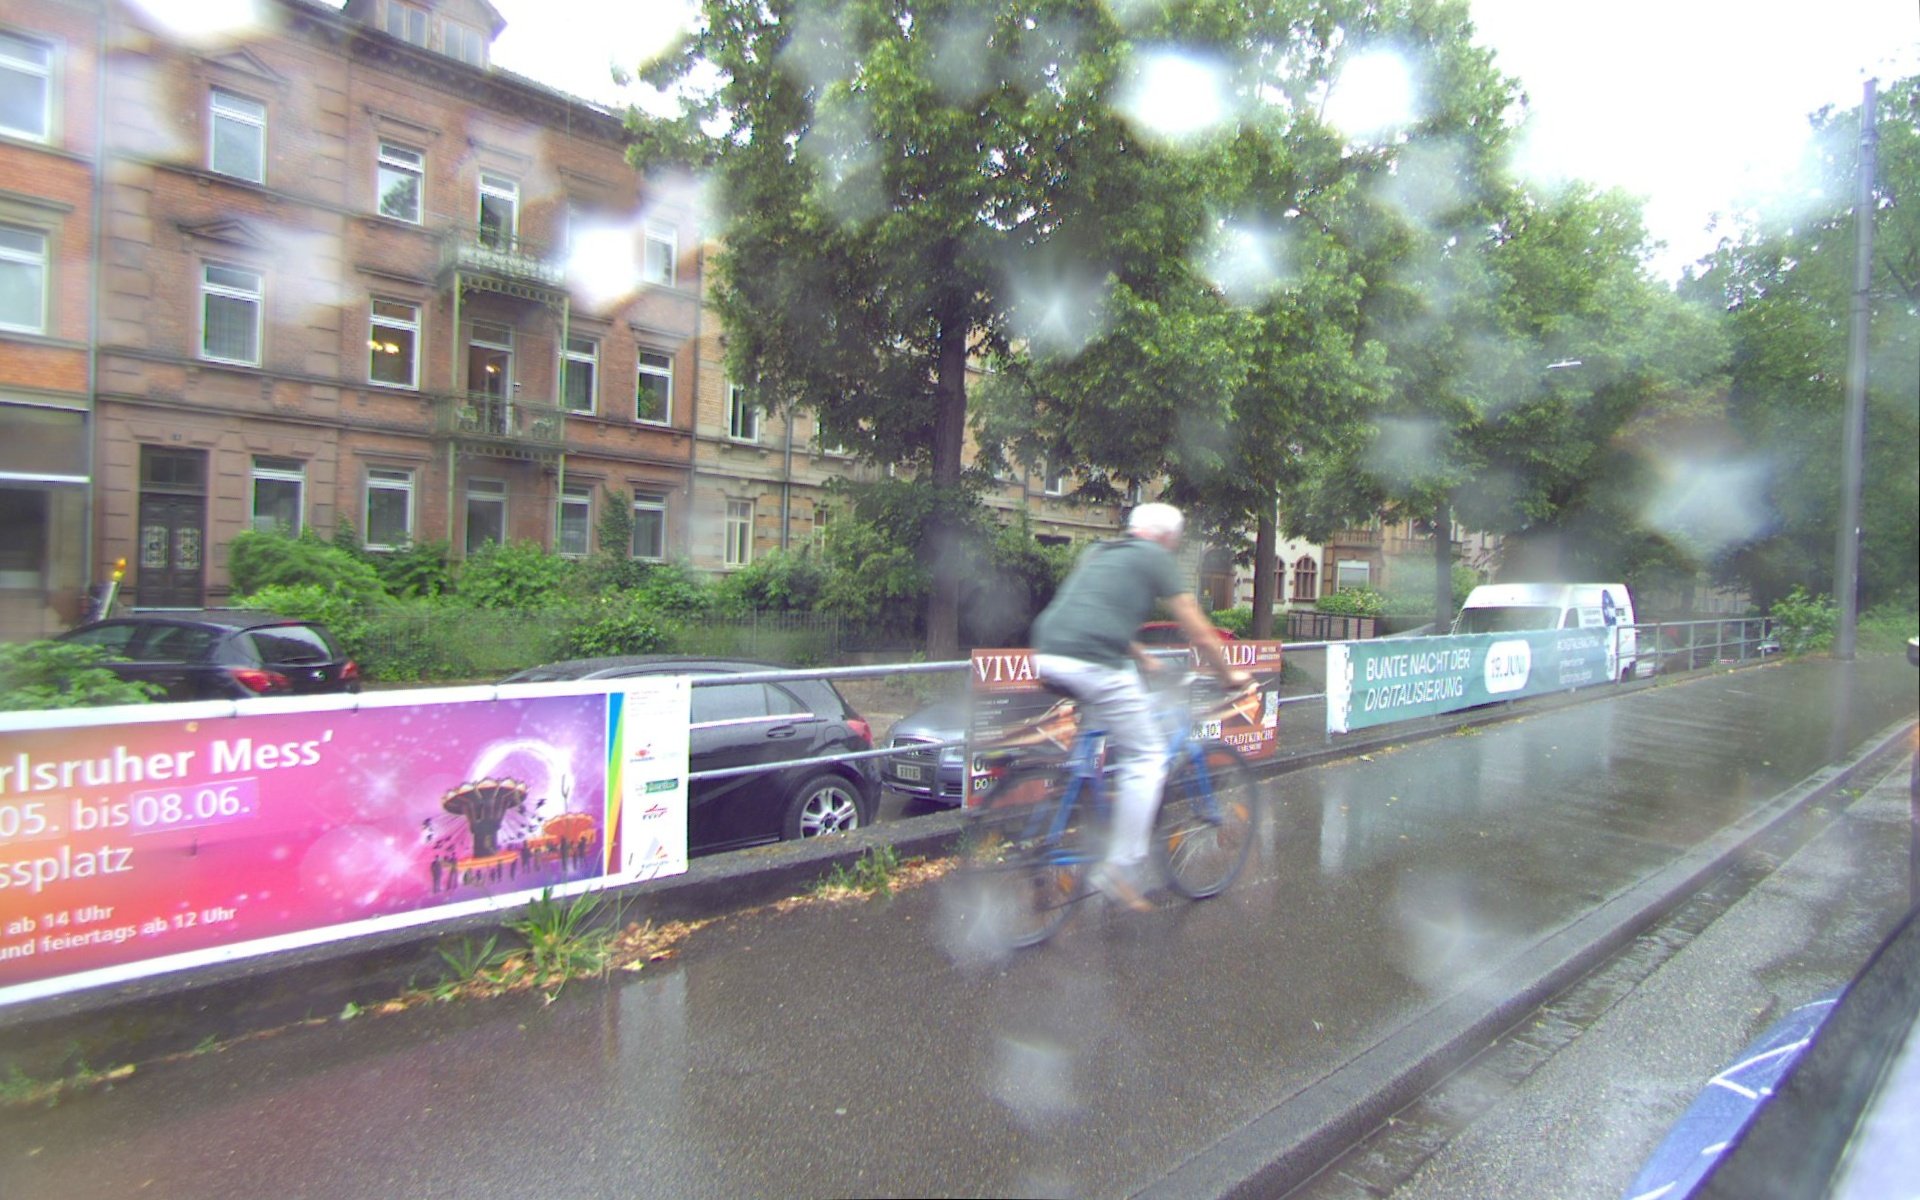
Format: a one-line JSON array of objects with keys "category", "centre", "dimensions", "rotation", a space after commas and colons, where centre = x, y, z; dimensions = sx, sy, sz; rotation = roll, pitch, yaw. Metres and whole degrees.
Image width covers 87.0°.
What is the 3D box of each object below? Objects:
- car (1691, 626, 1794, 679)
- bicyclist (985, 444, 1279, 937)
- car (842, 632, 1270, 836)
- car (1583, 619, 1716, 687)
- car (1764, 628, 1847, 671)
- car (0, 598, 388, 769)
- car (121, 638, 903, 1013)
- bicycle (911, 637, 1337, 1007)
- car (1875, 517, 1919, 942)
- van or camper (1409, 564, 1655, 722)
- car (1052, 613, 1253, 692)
[{"category": "car", "centre": [23.418, 1.522, 30.263], "dimensions": [3.930, 1.389, 1.702], "rotation": [0, 0, -41]}, {"category": "bicyclist", "centre": [0.688, 0.300, 4.006], "dimensions": [0.736, 1.676, 0.863], "rotation": [2, 1, 44]}, {"category": "car", "centre": [1.077, 1.093, 9.823], "dimensions": [4.141, 1.488, 1.730], "rotation": [1, 0, -41]}, {"category": "car", "centre": [16.629, 1.215, 24.330], "dimensions": [4.142, 1.365, 1.629], "rotation": [0, 1, -41]}, {"category": "car", "centre": [32.111, 1.850, 38.415], "dimensions": [3.929, 1.473, 1.808], "rotation": [2, 0, -41]}, {"category": "car", "centre": [-8.574, 0.787, 10.953], "dimensions": [3.940, 1.527, 1.853], "rotation": [1, 0, 13]}, {"category": "car", "centre": [-2.540, 1.036, 6.346], "dimensions": [4.142, 1.482, 1.749], "rotation": [1, 0, -41]}, {"category": "bicycle", "centre": [0.742, 0.728, 4.080], "dimensions": [0.738, 1.086, 1.836], "rotation": [3, 1, 45]}, {"category": "car", "centre": [6.077, 0.563, 4.776], "dimensions": [4.595, 1.667, 1.912], "rotation": [1, 0, -39]}, {"category": "van or camper", "centre": [11.297, 0.738, 19.743], "dimensions": [5.991, 2.624, 2.330], "rotation": [1, 0, -42]}, {"category": "car", "centre": [4.312, 1.126, 22.623], "dimensions": [4.230, 1.488, 1.700], "rotation": [2, 0, 18]}]
